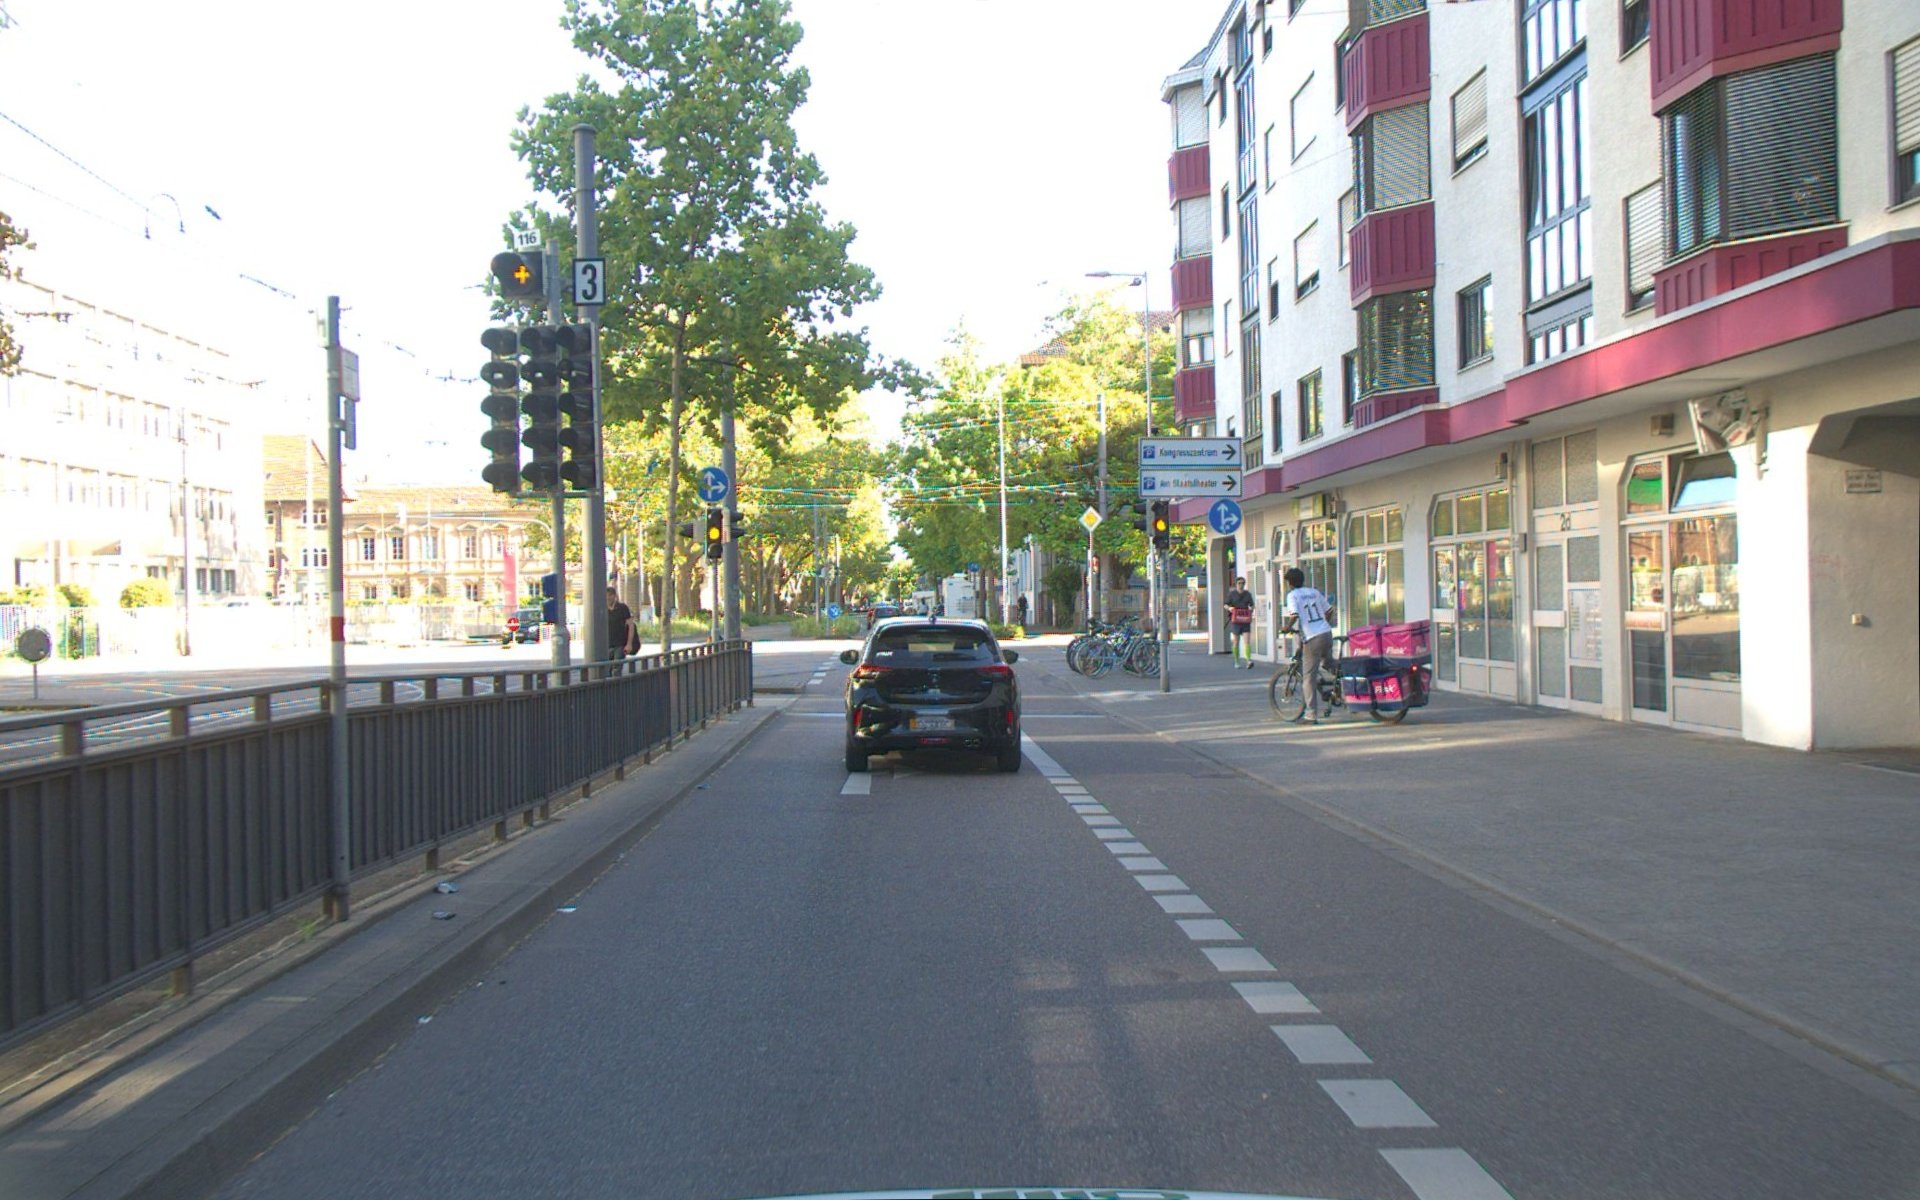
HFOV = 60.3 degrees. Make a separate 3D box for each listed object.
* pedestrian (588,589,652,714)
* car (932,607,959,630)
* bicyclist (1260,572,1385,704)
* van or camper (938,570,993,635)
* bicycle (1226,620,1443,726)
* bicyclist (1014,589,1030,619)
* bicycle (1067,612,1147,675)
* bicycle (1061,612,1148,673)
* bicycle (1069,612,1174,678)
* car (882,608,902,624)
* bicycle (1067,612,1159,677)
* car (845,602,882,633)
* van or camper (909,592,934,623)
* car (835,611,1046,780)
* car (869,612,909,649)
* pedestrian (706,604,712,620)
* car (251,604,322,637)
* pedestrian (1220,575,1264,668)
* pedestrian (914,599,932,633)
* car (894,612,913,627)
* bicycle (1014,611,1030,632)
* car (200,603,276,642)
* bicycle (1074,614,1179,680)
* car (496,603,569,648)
[{"bbox_3d":[-4.929,0.738,24.034,0.719,1.777,0.712,-1,0,3],"label":"pedestrian"},{"bbox_3d":[-1.028,1.280,115.934,1.754,1.536,3.872,-3,0,-2],"label":"car"},{"bbox_3d":[4.482,0.456,20.464,1.050,1.567,1.064,-1,-1,-39],"label":"bicyclist"},{"bbox_3d":[0.232,0.137,88.974,2.329,3.179,7.546,-4,0,-3],"label":"van or camper"},{"bbox_3d":[4.568,0.867,20.376,0.954,1.204,2.562,-1,0,-39],"label":"bicycle"},{"bbox_3d":[3.233,0.196,86.409,0.733,1.536,0.702,-1,0,-2],"label":"bicyclist"},{"bbox_3d":[3.011,0.887,33.946,1.589,1.220,0.496,-2,-1,2],"label":"bicycle"},{"bbox_3d":[3.020,0.899,34.693,1.764,1.220,0.546,-2,-2,2],"label":"bicycle"},{"bbox_3d":[3.168,0.875,32.497,1.939,1.220,0.590,-2,-1,-7],"label":"bicycle"},{"bbox_3d":[-6.790,1.565,164.557,1.866,1.450,4.214,-1,0,-1],"label":"car"},{"bbox_3d":[3.074,0.890,33.377,1.793,1.242,0.496,-1,0,1],"label":"bicycle"},{"bbox_3d":[-5.389,0.952,92.770,1.954,1.656,4.467,1,0,-3],"label":"car"},{"bbox_3d":[-3.772,0.744,162.398,2.436,3.046,5.432,0,0,-1],"label":"van or camper"},{"bbox_3d":[-0.210,0.869,16.984,1.866,1.450,4.214,-1,0,-1],"label":"car"},{"bbox_3d":[-3.328,1.409,78.240,1.795,1.651,4.283,0,0,-1],"label":"car"},{"bbox_3d":[-26.673,1.287,175.721,0.606,1.764,0.596,1,-1,-3],"label":"pedestrian"},{"bbox_3d":[-37.609,1.135,92.482,1.952,1.733,4.379,-2,0,3],"label":"car"},{"bbox_3d":[5.857,0.438,34.391,0.708,1.890,0.800,-1,0,-2],"label":"pedestrian"},{"bbox_3d":[-2.287,0.972,102.179,1.015,2.059,1.212,-1,0,-3],"label":"pedestrian"},{"bbox_3d":[-6.009,2.056,176.632,1.866,1.450,4.214,-1,0,-1],"label":"car"},{"bbox_3d":[3.248,1.114,86.443,0.626,1.089,1.950,-2,0,-3],"label":"bicycle"},{"bbox_3d":[-40.430,1.260,92.681,1.952,2.049,4.726,-2,0,3],"label":"car"},{"bbox_3d":[3.200,0.903,31.875,1.902,1.191,0.571,-2,-1,-5],"label":"bicycle"},{"bbox_3d":[-20.057,1.191,77.824,1.951,1.982,4.426,-1,0,4],"label":"car"}]
